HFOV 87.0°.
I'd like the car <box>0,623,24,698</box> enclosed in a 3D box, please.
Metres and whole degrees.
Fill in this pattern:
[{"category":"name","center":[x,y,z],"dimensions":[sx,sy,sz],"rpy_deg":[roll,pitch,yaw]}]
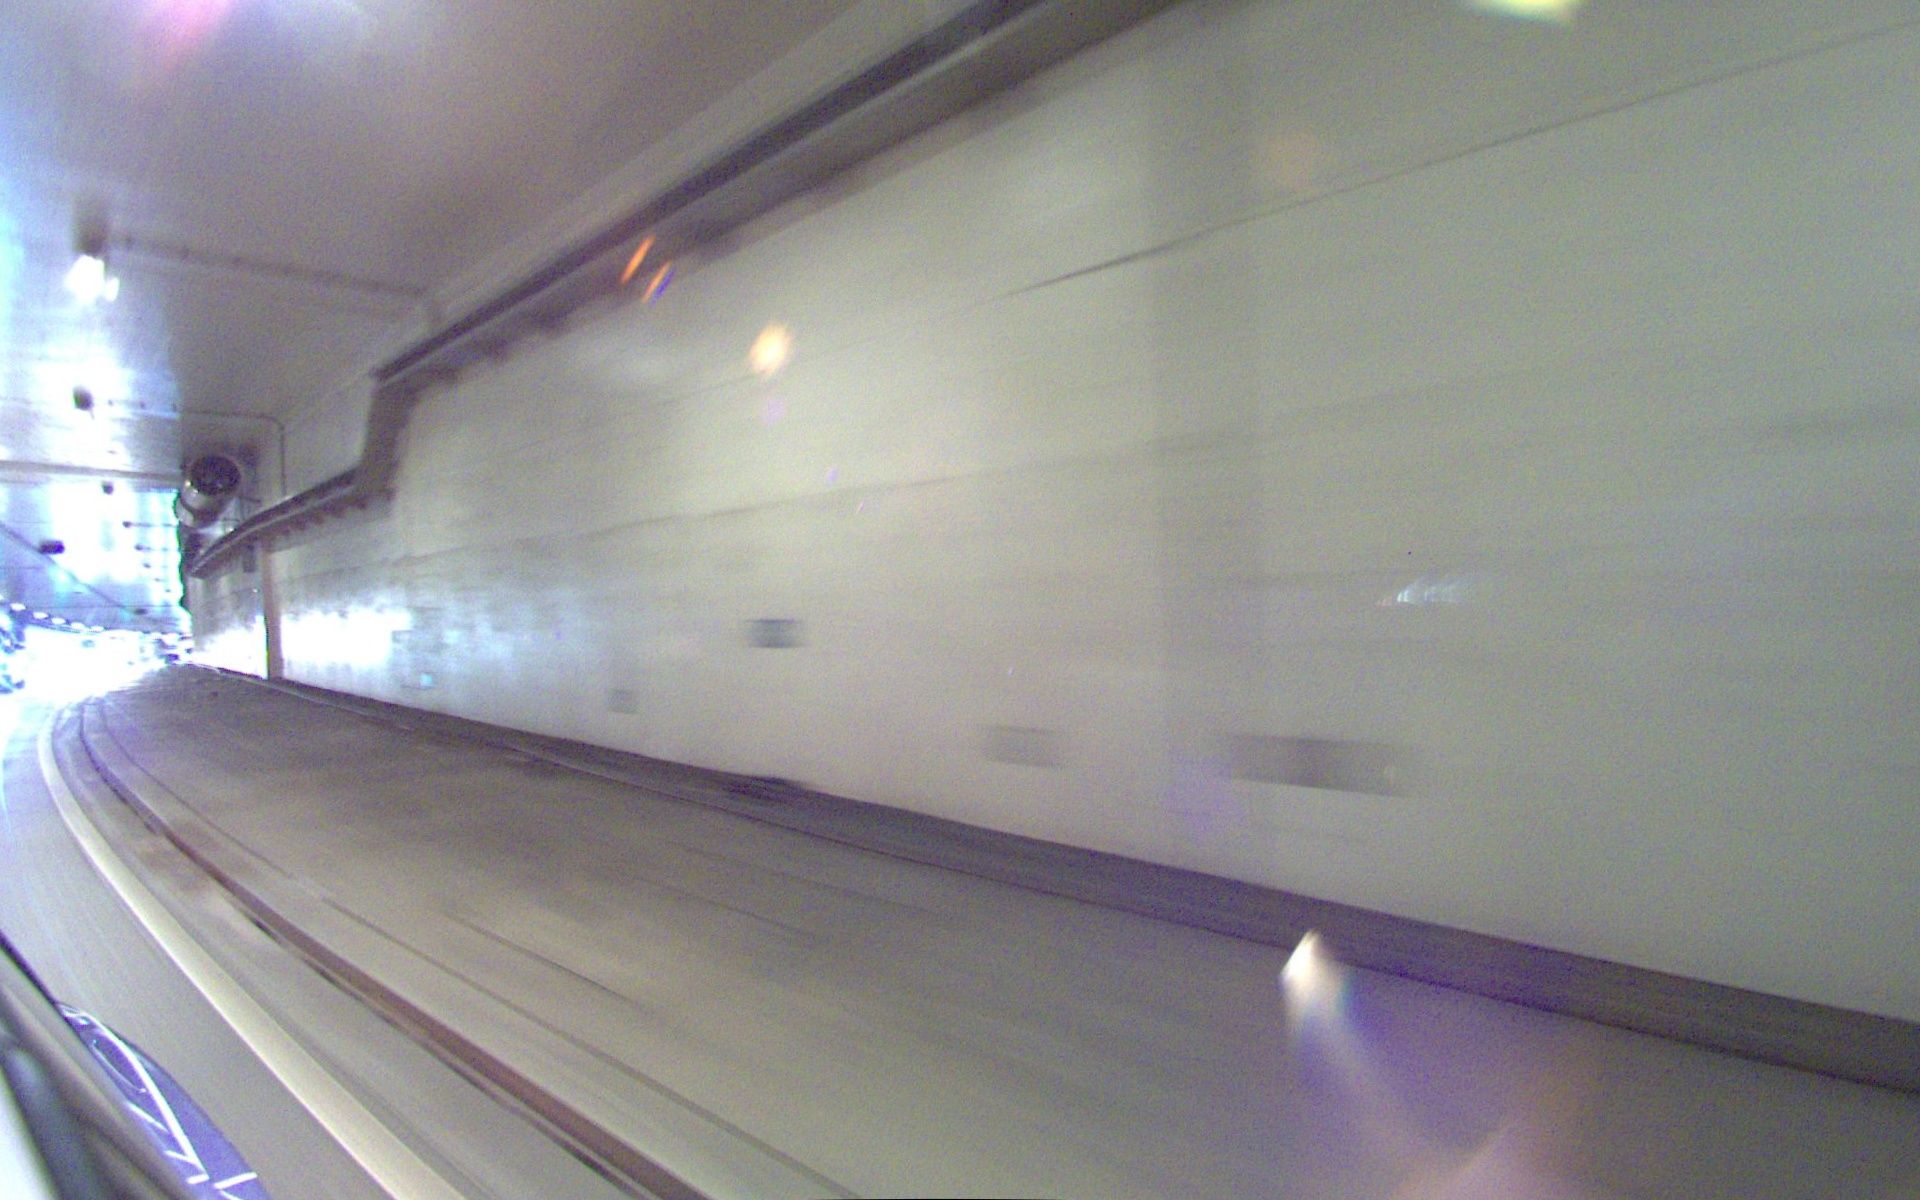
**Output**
[{"category":"car","center":[-21.969,1.358,22.354],"dimensions":[1.614,1.573,3.723],"rpy_deg":[0,-2,-38]}]

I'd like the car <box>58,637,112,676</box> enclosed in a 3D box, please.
[{"category":"car","center":[-40.155,2.567,46.441],"dimensions":[1.739,1.572,3.824],"rpy_deg":[-4,1,-41]}]

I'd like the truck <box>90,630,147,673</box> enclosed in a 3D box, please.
[{"category":"truck","center":[-56.875,3.427,68.520],"dimensions":[2.041,2.558,6.041],"rpy_deg":[-4,2,-32]}]

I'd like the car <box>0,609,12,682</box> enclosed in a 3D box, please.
[{"category":"car","center":[-40.476,1.872,41.282],"dimensions":[2.074,2.869,6.873],"rpy_deg":[-1,-4,-39]}]

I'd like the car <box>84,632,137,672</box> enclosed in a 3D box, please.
[{"category":"car","center":[-47.556,2.923,56.720],"dimensions":[1.905,1.944,4.206],"rpy_deg":[-3,-3,-36]}]

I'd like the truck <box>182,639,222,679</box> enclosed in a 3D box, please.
[{"category":"truck","center":[-98.379,7.571,131.519],"dimensions":[2.840,4.505,10.485],"rpy_deg":[-4,2,-30]}]

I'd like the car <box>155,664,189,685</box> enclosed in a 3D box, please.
[{"category":"car","center":[-75.999,7.134,97.702],"dimensions":[1.919,1.545,4.013],"rpy_deg":[-4,3,-29]}]
